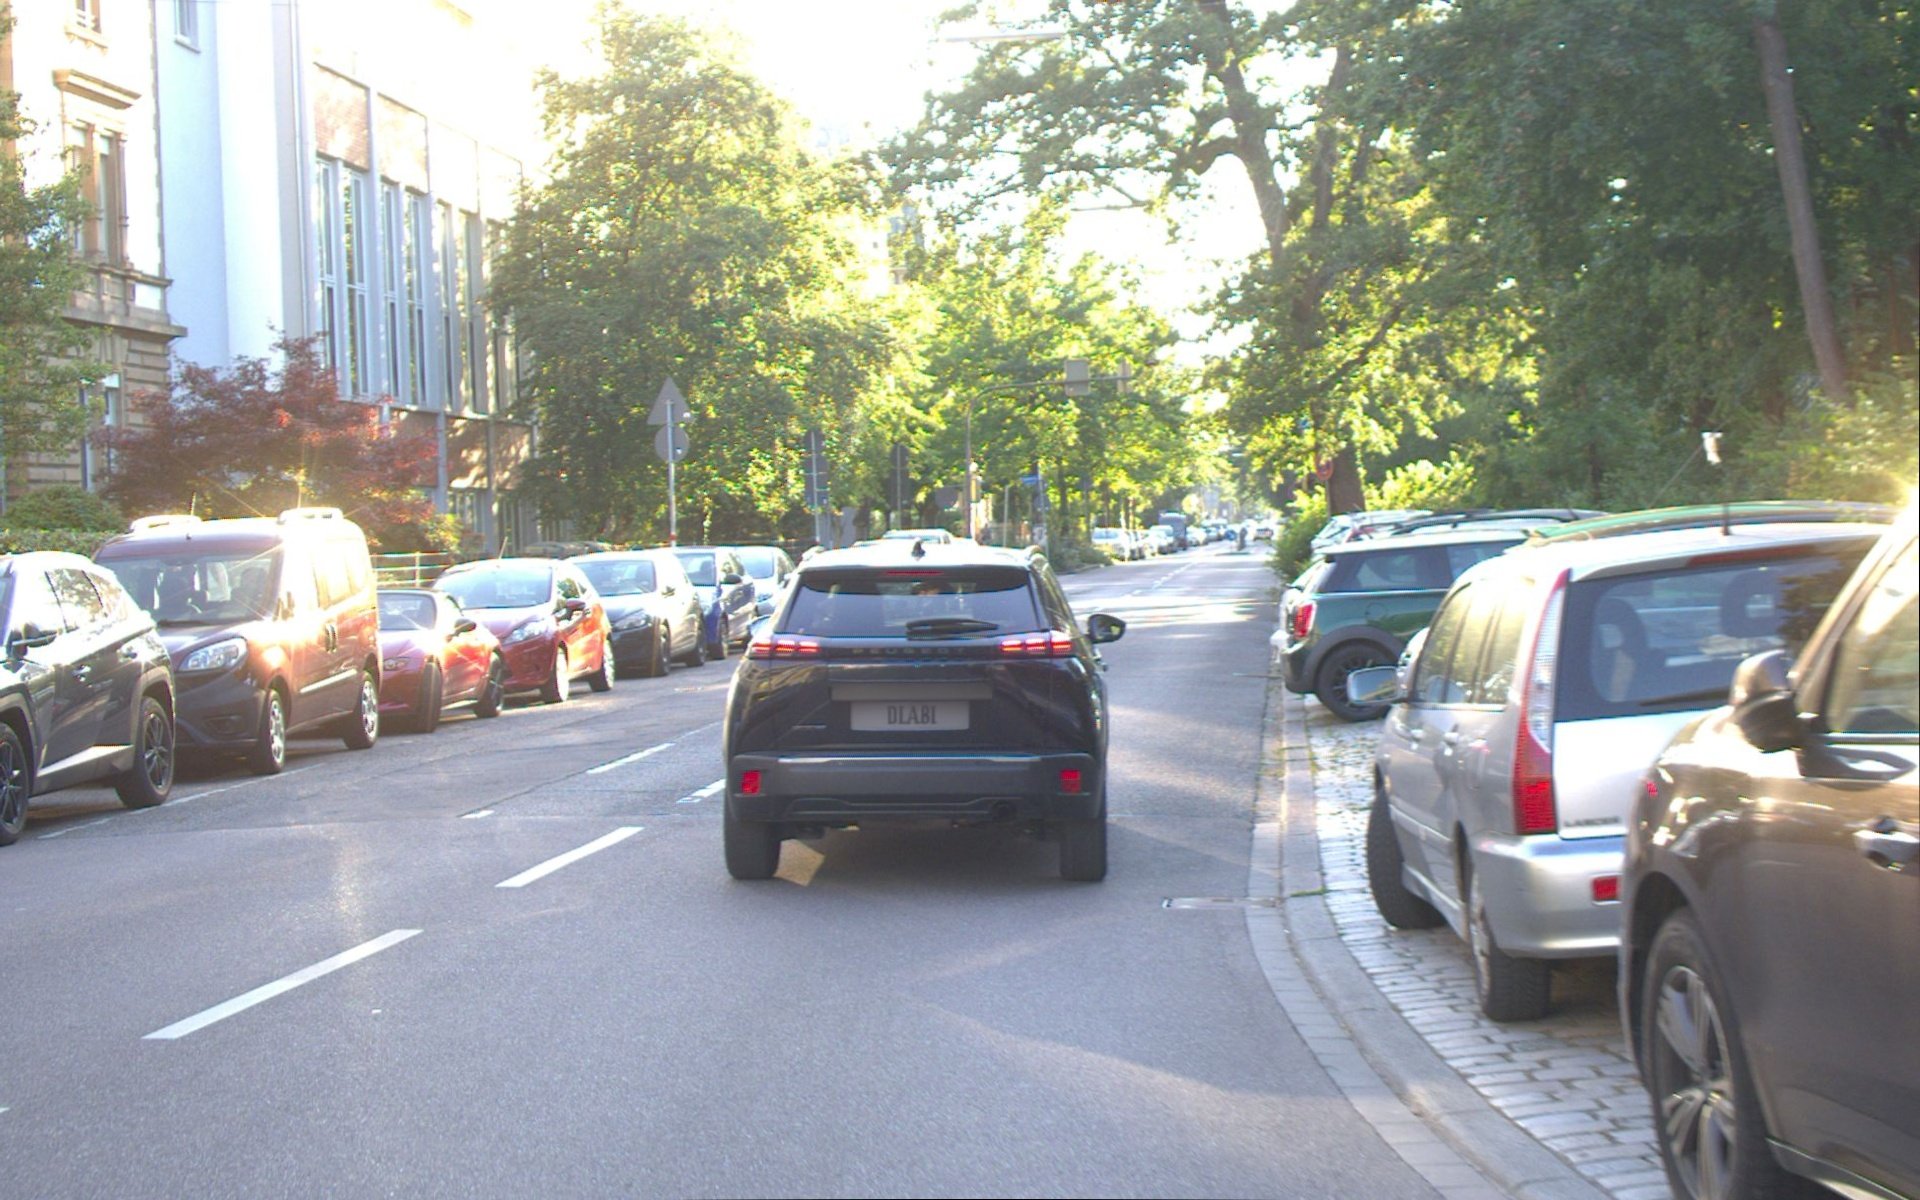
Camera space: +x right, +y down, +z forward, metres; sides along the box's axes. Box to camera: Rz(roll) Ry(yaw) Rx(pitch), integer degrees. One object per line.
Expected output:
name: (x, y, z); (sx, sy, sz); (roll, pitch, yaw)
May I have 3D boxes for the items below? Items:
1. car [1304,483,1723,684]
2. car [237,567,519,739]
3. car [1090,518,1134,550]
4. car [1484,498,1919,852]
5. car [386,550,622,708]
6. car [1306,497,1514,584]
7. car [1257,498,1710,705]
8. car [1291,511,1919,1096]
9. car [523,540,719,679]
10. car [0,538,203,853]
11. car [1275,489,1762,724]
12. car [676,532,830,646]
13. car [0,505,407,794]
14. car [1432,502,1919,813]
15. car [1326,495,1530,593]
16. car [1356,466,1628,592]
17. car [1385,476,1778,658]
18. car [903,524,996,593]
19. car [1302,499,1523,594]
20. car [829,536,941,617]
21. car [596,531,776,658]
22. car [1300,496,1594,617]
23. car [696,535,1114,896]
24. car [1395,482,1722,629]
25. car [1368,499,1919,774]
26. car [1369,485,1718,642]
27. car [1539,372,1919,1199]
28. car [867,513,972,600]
car: (5.199, -0.174, 32.672); (3.666, 1.547, 1.735); (-5, 1, 4)
car: (-5.119, 0.430, 30.692); (1.556, 1.275, 3.733); (-3, 2, 5)
car: (6.952, -3.034, 157.052); (1.810, 1.349, 4.000); (-2, 1, 1)
car: (4.541, 0.276, 16.157); (3.950, 1.506, 1.739); (-2, 1, 5)
car: (-4.644, 0.256, 35.508); (1.599, 1.450, 3.861); (-2, 1, 4)
car: (9.359, -1.239, 71.317); (4.172, 1.704, 1.866); (-1, 1, 10)
car: (4.514, -0.009, 30.051); (3.666, 1.440, 1.735); (-5, 1, 4)
car: (2.223, 0.517, 11.718); (1.650, 1.562, 4.301); (-3, 1, -1)
car: (-4.047, 0.070, 41.609); (1.599, 1.450, 4.055); (-3, 2, 5)
car: (-6.054, 0.549, 20.425); (1.742, 1.670, 4.416); (-3, 2, 5)
car: (4.426, 0.029, 27.655); (3.610, 1.520, 1.671); (-5, 1, 4)
car: (-3.031, -0.188, 51.065); (1.601, 1.488, 3.772); (-3, 2, 6)
car: (-5.613, 0.287, 25.908); (1.808, 1.883, 4.238); (-3, 2, 5)
car: (4.446, 0.270, 18.698); (3.627, 1.535, 1.671); (-2, 2, 6)
car: (8.699, -1.034, 64.132); (3.589, 1.561, 1.818); (-4, 0, 5)
car: (7.882, -1.054, 51.163); (3.712, 1.550, 1.742); (-5, 1, 2)
car: (6.303, -0.334, 35.231); (3.726, 1.493, 1.820); (-5, 0, 6)
car: (-0.222, -0.991, 80.471); (1.679, 1.452, 3.881); (-3, 2, 6)
car: (8.735, -1.047, 66.621); (4.123, 1.661, 1.722); (-2, 1, 6)
car: (-1.465, -0.496, 68.600); (1.671, 1.488, 4.060); (-2, 1, 6)
car: (-3.666, -0.100, 46.527); (1.599, 1.502, 3.786); (-3, 2, 7)
car: (7.526, -0.686, 53.374); (4.338, 1.470, 1.742); (-5, 2, 7)
car: (-0.168, 0.473, 16.746); (1.768, 1.563, 3.380); (0, 1, 4)
car: (7.432, -0.560, 43.003); (3.808, 1.469, 1.831); (-5, 0, 6)
car: (4.291, 0.206, 21.234); (3.385, 1.520, 1.671); (-2, 0, 4)
car: (6.771, -0.424, 40.233); (3.808, 1.469, 1.756); (-5, 0, 6)
car: (2.454, 0.472, 5.548); (1.921, 1.742, 4.667); (-3, 1, -3)
car: (-0.843, -0.964, 74.107); (1.679, 1.702, 4.340); (-3, 2, 6)
